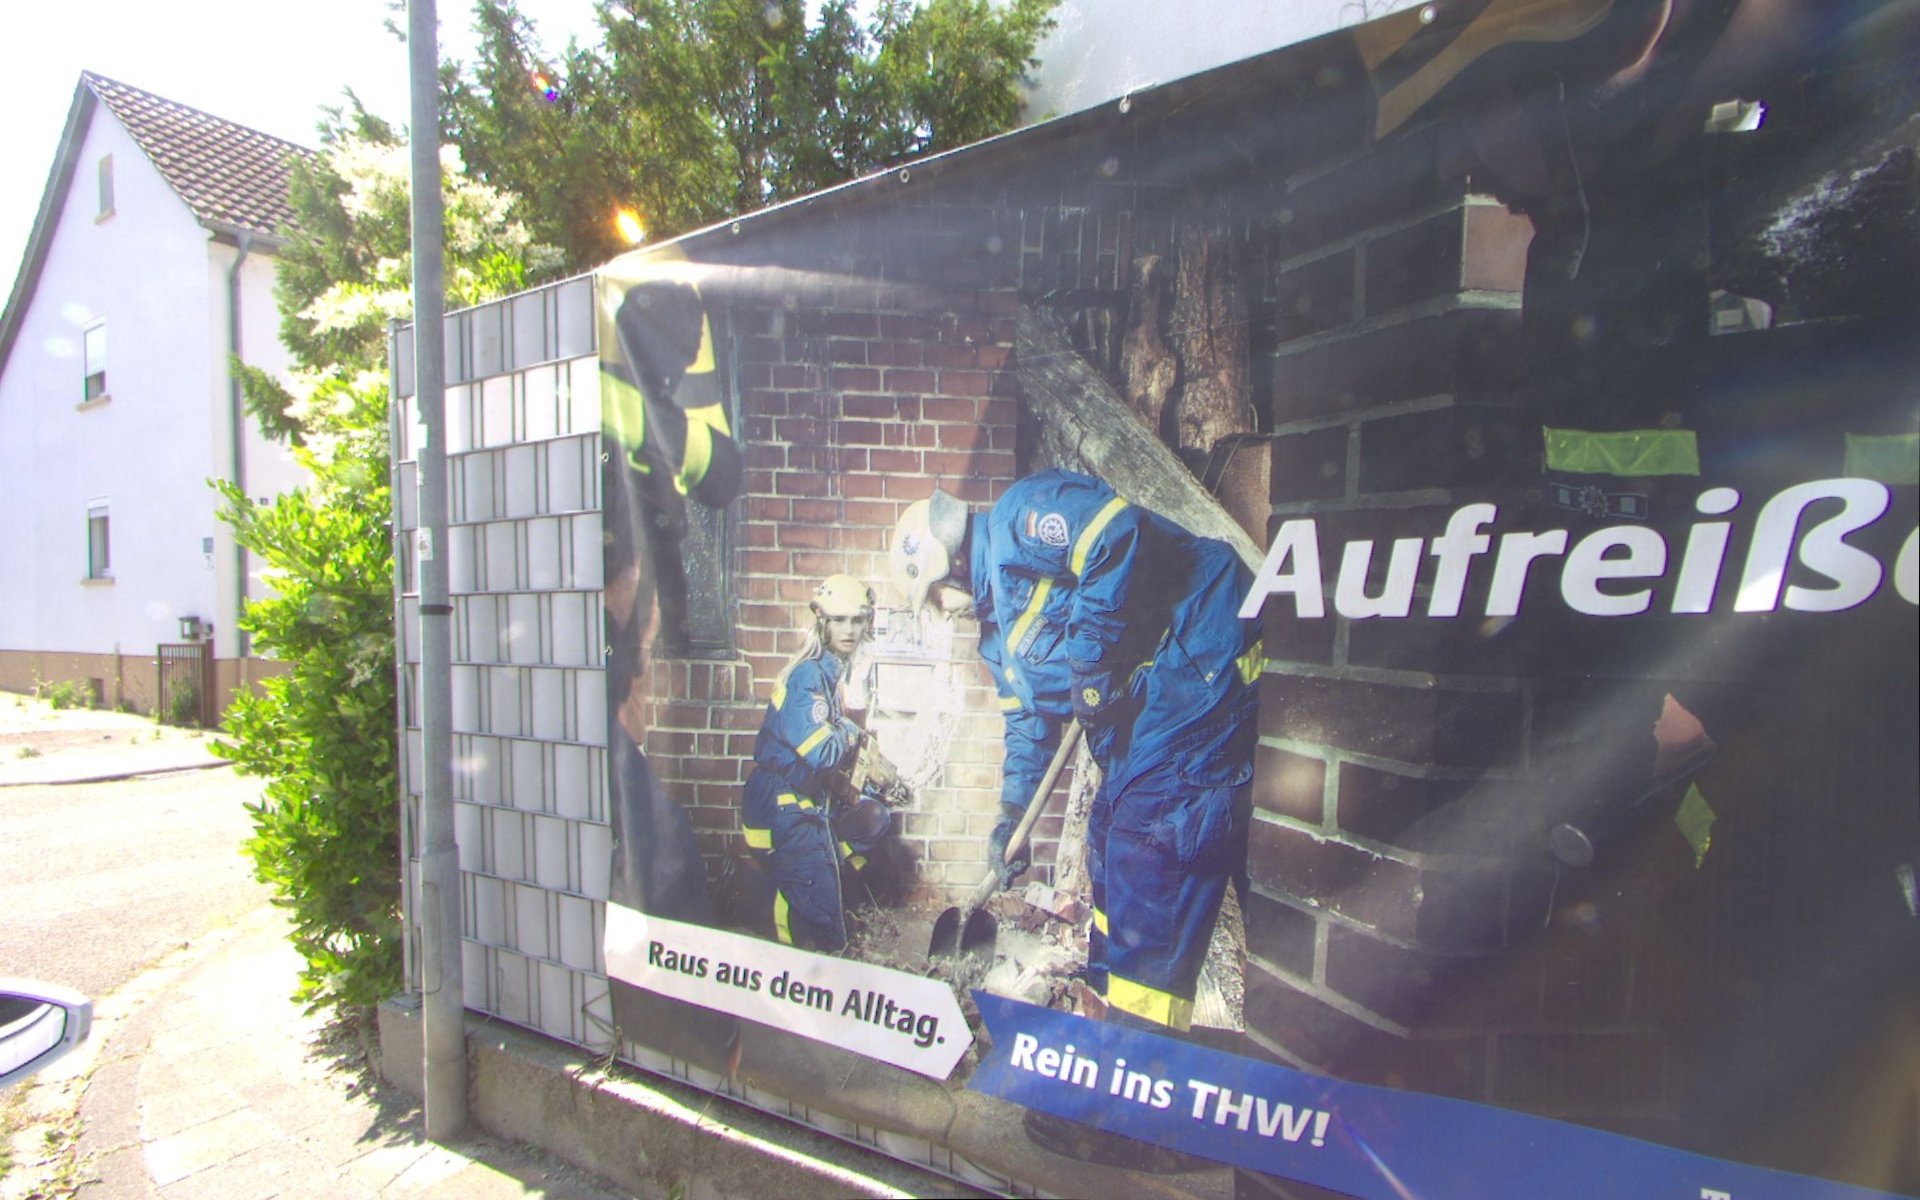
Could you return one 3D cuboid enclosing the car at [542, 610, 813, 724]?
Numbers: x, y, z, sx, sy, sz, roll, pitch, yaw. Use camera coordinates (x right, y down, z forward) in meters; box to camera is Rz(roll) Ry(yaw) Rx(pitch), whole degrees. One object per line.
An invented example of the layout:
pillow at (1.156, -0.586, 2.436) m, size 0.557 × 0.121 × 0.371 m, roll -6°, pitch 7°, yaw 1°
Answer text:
car at (-4.310, 0.939, 15.852) m, size 1.771 × 1.550 × 3.978 m, roll 0°, pitch -1°, yaw 32°
